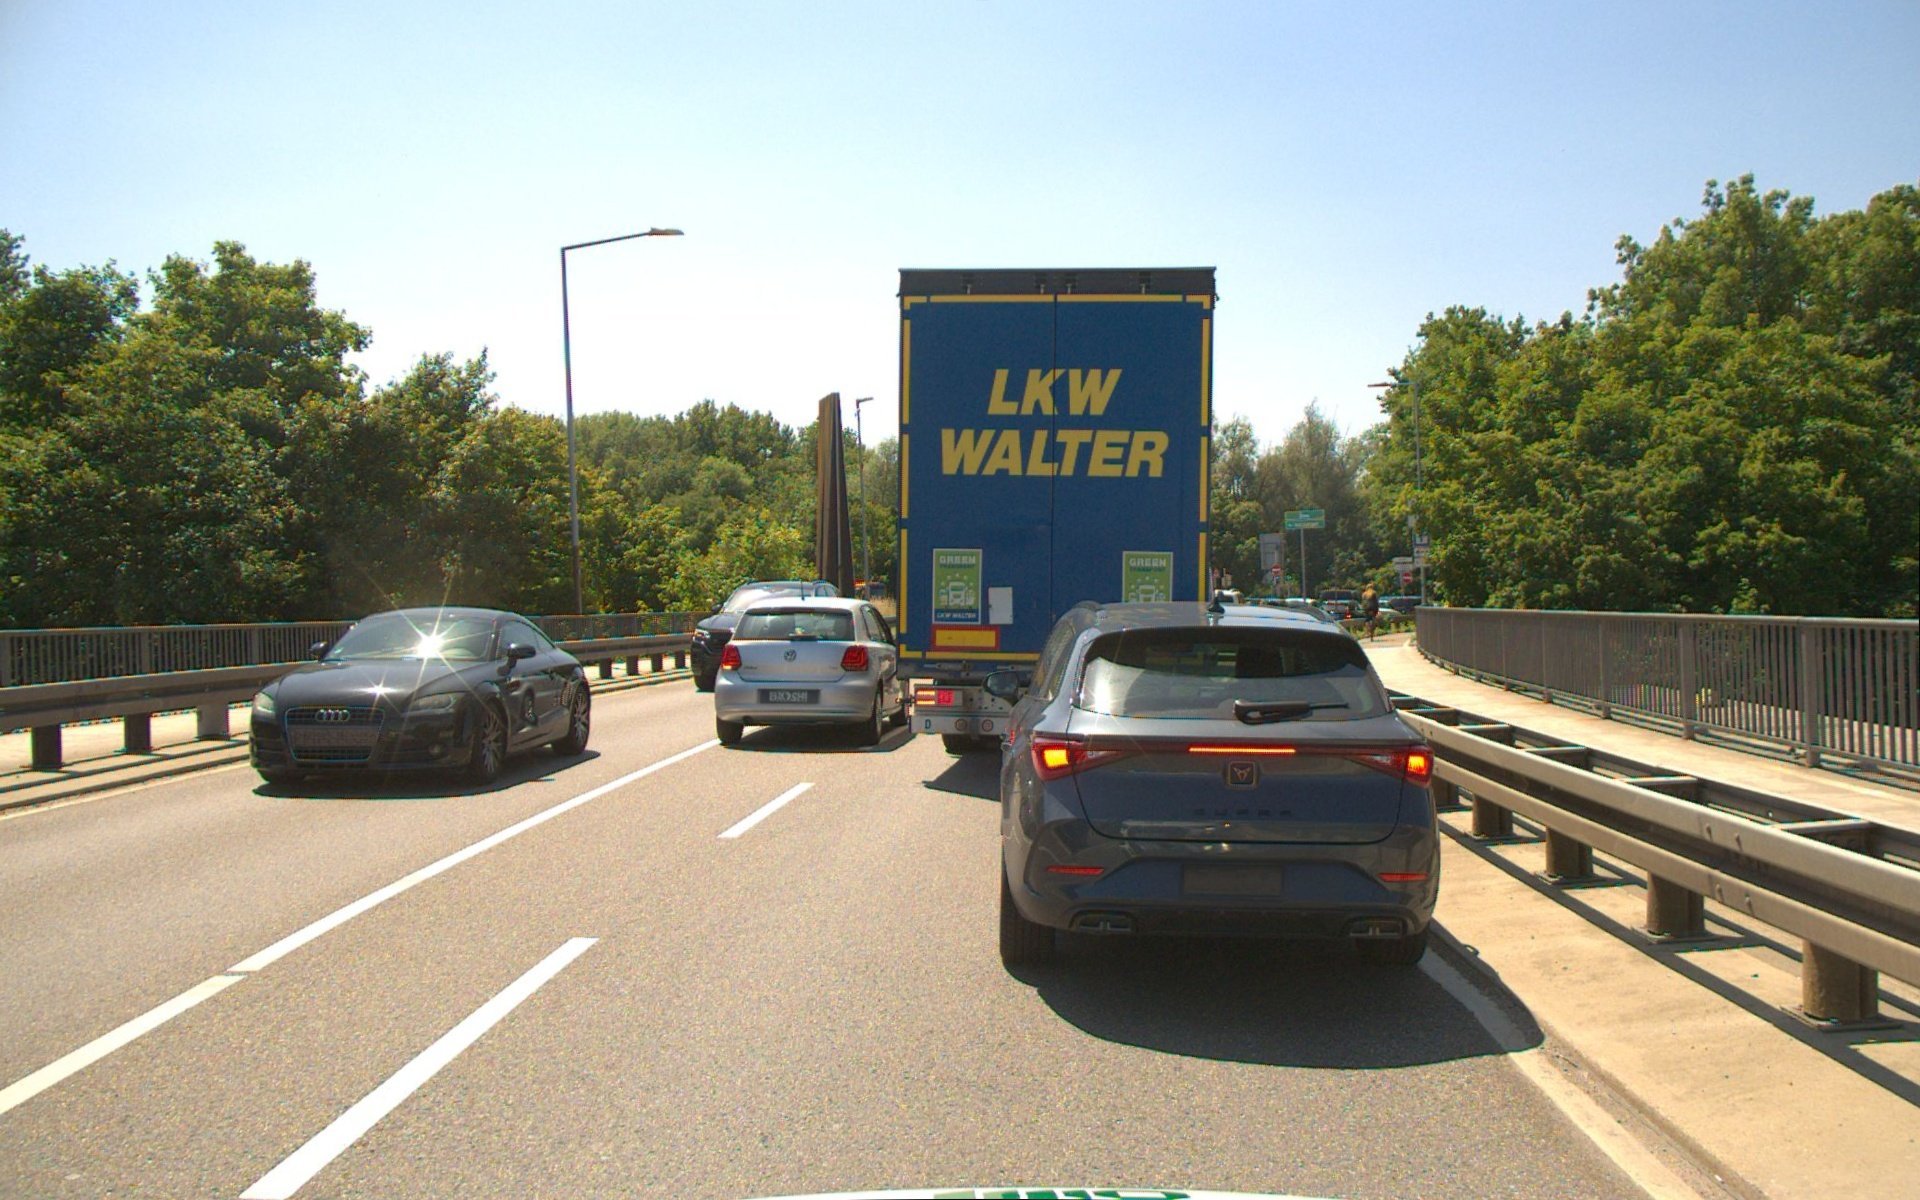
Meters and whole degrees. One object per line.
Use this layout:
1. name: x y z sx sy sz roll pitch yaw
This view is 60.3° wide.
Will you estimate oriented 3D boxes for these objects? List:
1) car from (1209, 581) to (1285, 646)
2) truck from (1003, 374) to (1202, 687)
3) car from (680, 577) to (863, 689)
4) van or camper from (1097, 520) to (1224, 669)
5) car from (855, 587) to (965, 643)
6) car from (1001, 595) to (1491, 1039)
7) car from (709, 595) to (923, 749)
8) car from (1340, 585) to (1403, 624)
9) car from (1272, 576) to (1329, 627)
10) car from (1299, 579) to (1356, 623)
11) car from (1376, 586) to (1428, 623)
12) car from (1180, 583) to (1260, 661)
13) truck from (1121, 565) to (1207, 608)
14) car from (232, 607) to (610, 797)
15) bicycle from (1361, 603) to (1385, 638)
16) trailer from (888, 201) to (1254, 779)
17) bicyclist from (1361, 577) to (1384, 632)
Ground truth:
1. car: 8.525 0.373 48.887 1.684 1.834 4.002 0 0 18
2. truck: 2.442 -1.039 27.183 2.843 4.496 6.560 0 0 7
3. car: -3.038 0.499 27.680 1.924 1.702 4.617 0 0 8
4. van or camper: 4.386 -0.129 35.242 2.108 2.865 6.393 0 0 12
5. car: -1.355 0.380 46.518 1.674 1.494 4.462 0 0 18
6. car: 1.054 0.720 7.550 1.642 1.481 3.960 0 0 3
7. car: -1.426 0.682 17.841 1.642 1.435 3.977 1 1 5
8. car: 18.945 0.210 76.058 1.955 1.603 3.996 2 -1 26
9. car: 13.021 0.021 63.130 1.685 1.876 4.002 0 0 19
10. car: 15.547 0.070 69.836 1.651 1.791 3.999 0 0 23
11. car: 21.938 0.217 82.016 1.653 1.791 3.994 0 -1 28
12. car: 6.747 0.517 42.685 1.684 1.876 4.003 0 1 14
13. truck: 14.367 -0.944 116.690 5.841 2.924 2.326 0 0 45
14. car: -4.314 0.742 13.924 1.643 1.331 3.975 0 0 4
15. bicycle: 13.047 0.630 52.239 0.569 1.053 1.486 -3 0 9
16. trailer: 1.527 -0.915 19.193 2.843 4.496 12.442 0 0 6
17. bicyclist: 13.023 0.146 52.237 0.565 1.712 0.730 -3 0 9
